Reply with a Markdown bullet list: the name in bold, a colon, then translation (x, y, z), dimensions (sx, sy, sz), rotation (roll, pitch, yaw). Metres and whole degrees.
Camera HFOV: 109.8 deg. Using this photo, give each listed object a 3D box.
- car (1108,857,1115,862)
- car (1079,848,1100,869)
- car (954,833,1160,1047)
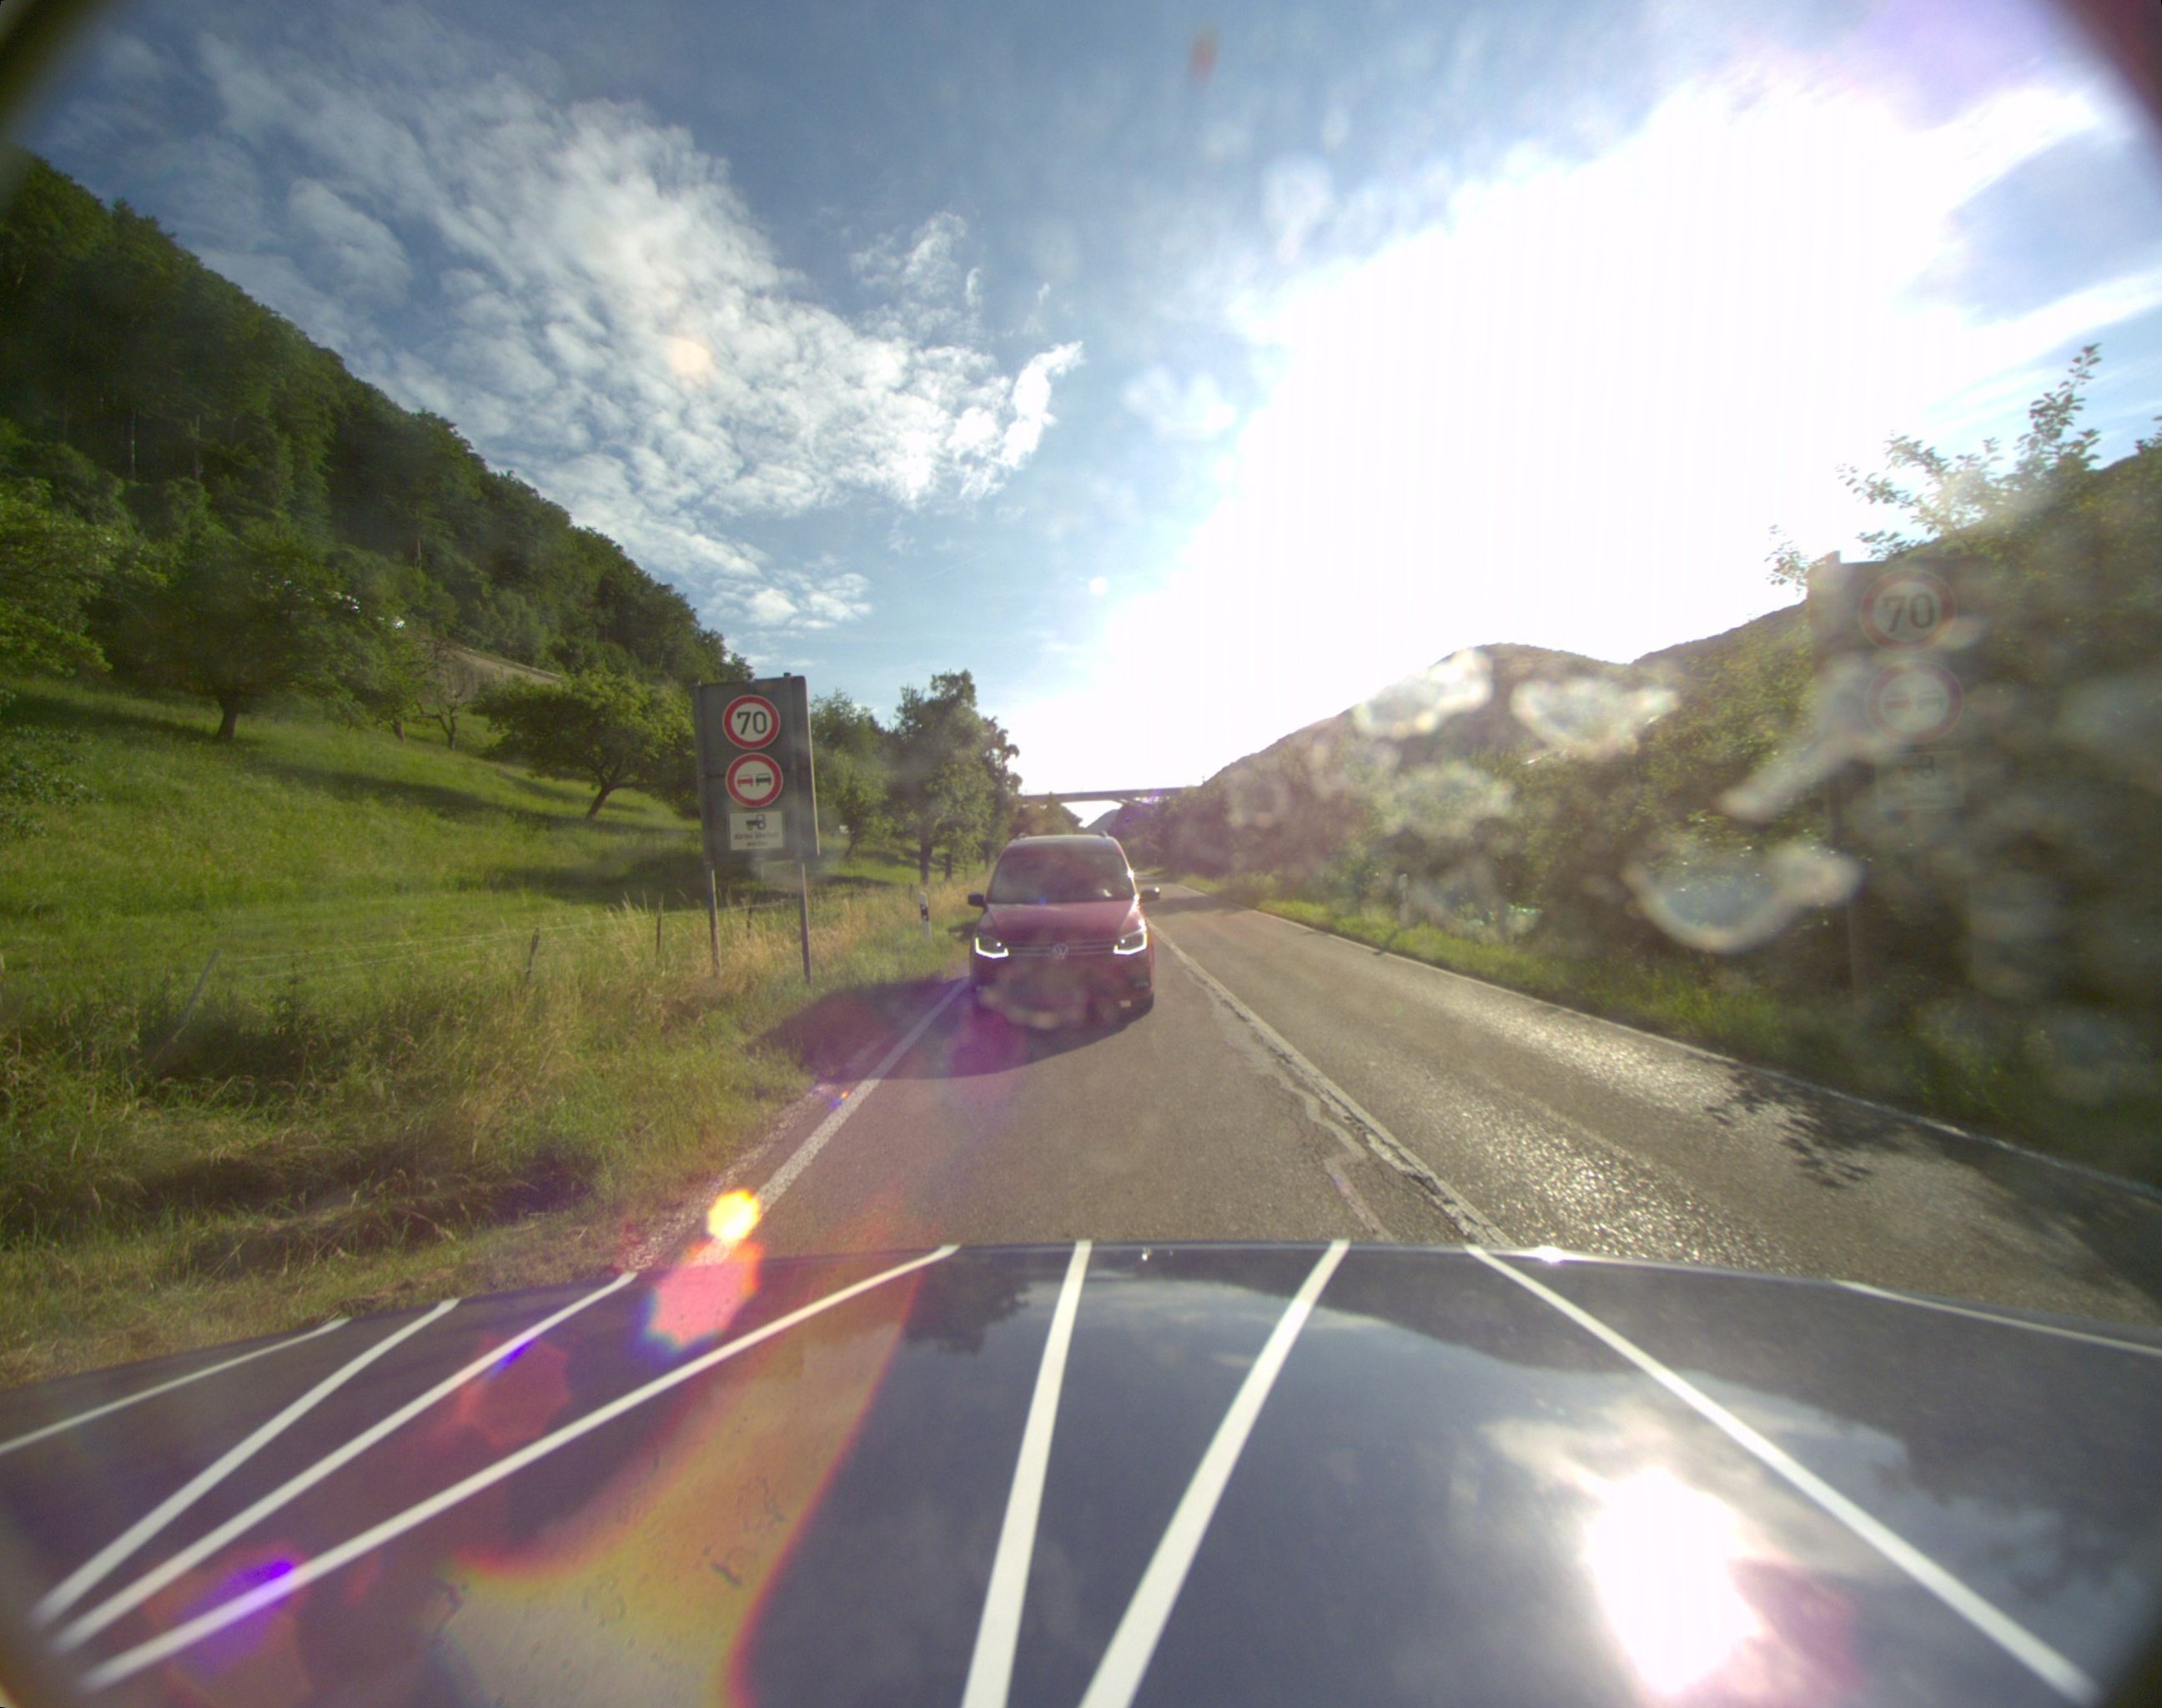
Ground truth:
- **car**: translation (8.659, 1.584, 217.018), dimensions (1.696, 1.401, 3.663), rotation (-1, 0, 1)
- **car**: translation (0.870, 0.398, 77.772), dimensions (1.998, 2.002, 3.999), rotation (-2, 1, 0)
- **car**: translation (-0.230, 0.744, 8.546), dimensions (1.741, 1.803, 4.000), rotation (-1, 0, -1)
